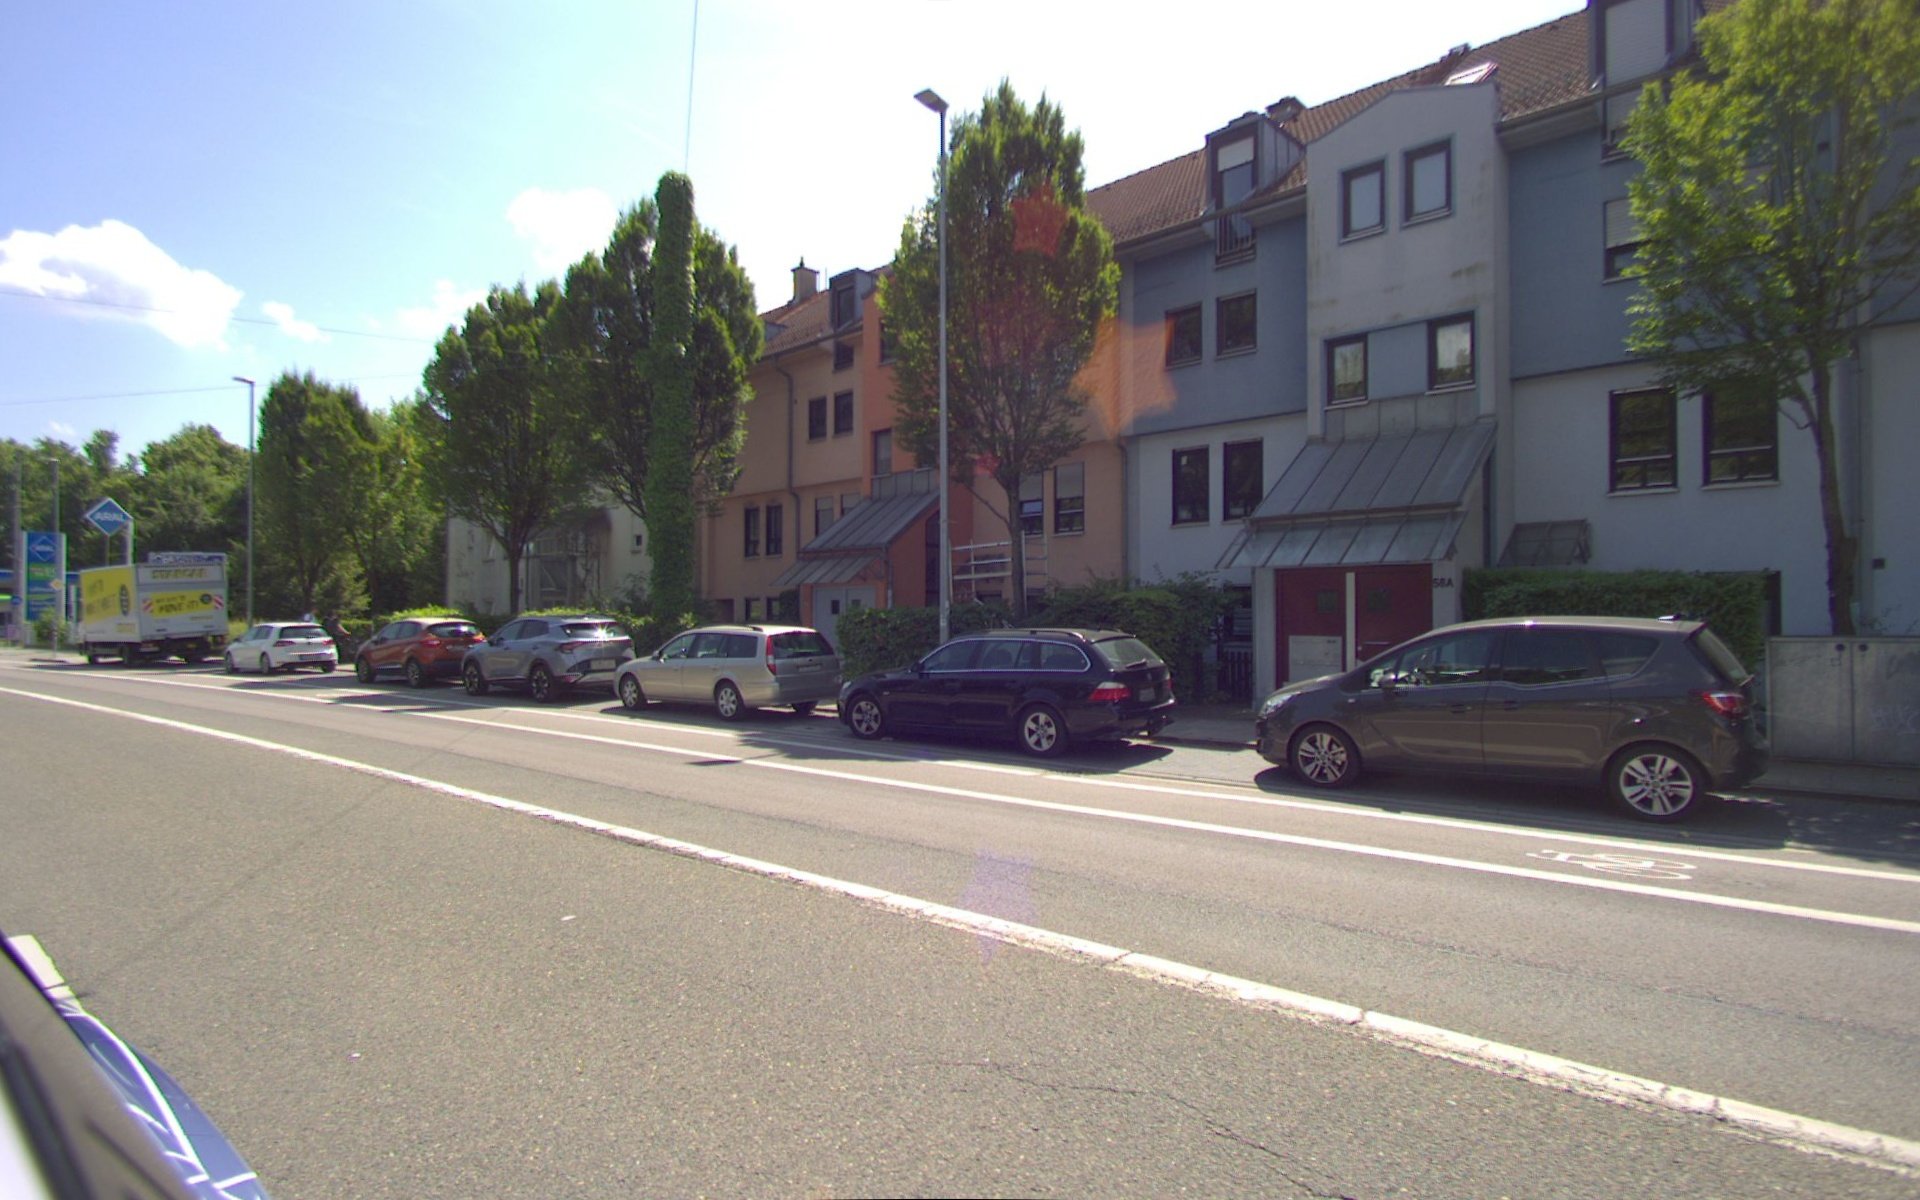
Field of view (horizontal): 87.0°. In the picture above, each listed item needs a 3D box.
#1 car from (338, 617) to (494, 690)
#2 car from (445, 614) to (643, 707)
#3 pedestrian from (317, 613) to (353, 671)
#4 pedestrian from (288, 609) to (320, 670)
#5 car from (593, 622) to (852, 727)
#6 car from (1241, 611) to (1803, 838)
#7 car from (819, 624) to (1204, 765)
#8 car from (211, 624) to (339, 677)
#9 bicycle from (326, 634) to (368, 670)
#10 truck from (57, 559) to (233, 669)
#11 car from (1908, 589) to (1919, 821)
[{"bbox_3d":[-13.072,1.218,24.257,4.165,1.621,1.641,-1,-1,36],"label":"car"},{"bbox_3d":[-8.509,1.151,20.504,4.682,1.621,1.639,-1,0,39],"label":"car"},{"bbox_3d":[-20.062,1.344,32.501,0.696,1.808,0.682,0,-2,9],"label":"pedestrian"},{"bbox_3d":[-21.097,1.276,32.553,0.633,1.937,0.710,0,-2,-11],"label":"pedestrian"},{"bbox_3d":[-4.143,1.157,17.170,4.890,1.519,1.639,-1,-1,39],"label":"car"},{"bbox_3d":[4.951,0.935,9.319,4.283,1.630,1.638,-1,-2,41],"label":"car"},{"bbox_3d":[0.497,1.076,13.150,4.959,1.457,1.724,-1,0,40],"label":"car"},{"bbox_3d":[-19.866,1.420,29.287,4.388,1.421,1.641,-1,-2,36],"label":"car"},{"bbox_3d":[-19.775,1.663,32.663,1.659,1.134,0.452,-1,-2,32],"label":"bicycle"},{"bbox_3d":[-29.449,0.490,36.436,8.153,3.575,2.807,-1,1,36],"label":"truck"},{"bbox_3d":[8.864,0.746,5.804,4.885,1.729,1.732,-2,-2,41],"label":"car"}]
